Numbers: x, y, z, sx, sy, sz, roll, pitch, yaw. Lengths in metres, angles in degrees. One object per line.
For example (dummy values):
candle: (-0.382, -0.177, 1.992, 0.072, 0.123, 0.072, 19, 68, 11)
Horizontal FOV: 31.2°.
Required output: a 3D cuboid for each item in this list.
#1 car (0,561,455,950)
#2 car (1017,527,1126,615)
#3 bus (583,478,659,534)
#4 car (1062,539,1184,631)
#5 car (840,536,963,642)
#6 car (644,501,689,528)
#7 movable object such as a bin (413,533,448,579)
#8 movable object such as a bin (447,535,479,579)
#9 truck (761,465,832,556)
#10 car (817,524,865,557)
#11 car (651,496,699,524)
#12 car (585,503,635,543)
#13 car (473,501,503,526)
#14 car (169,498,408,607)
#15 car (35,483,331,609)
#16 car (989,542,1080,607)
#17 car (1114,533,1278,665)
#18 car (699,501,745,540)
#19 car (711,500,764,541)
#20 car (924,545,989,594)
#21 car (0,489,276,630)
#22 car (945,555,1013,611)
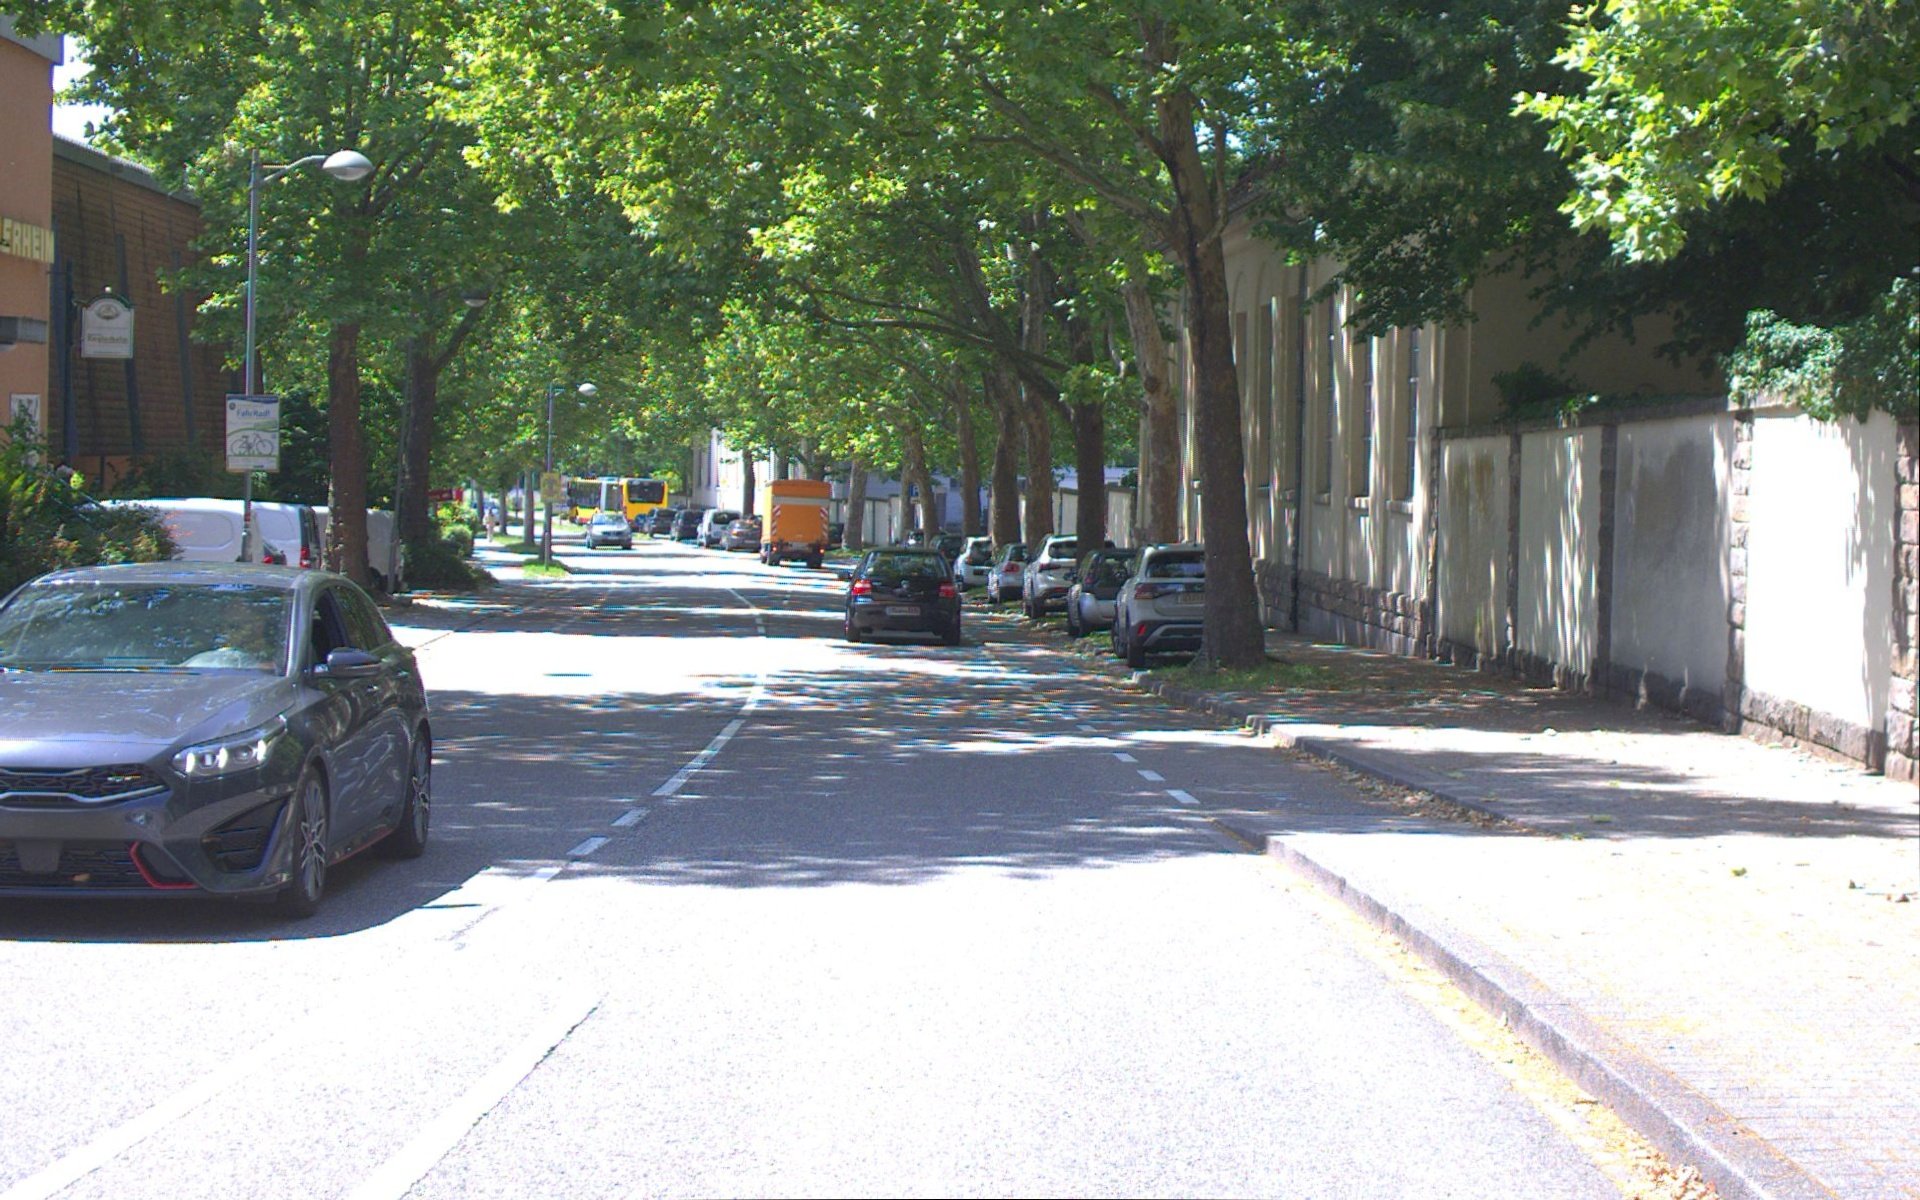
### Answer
car: (-3.442, 0.559, 15.115, 1.769, 1.421, 4.393, 1, 1, 0)
car: (2.177, -0.610, 68.106, 1.807, 1.683, 4.752, 0, 1, -2)
bus: (-19.847, -5.420, 200.540, 2.663, 3.140, 11.201, 1, 1, -15)
car: (2.642, -0.277, 56.560, 1.621, 1.435, 4.433, 0, 1, -2)
car: (-0.925, -0.199, 52.315, 1.711, 1.442, 4.059, 1, 2, -3)
car: (-15.446, -4.483, 180.645, 1.766, 1.369, 3.731, 0, 1, -14)
movable object such as a bin: (-12.686, -1.064, 82.343, 0.734, 1.074, 0.701, 1, 1, -3)
movable object such as a bin: (-11.918, -1.039, 82.426, 0.624, 1.045, 0.620, 1, 1, 2)
truck: (-6.027, -3.248, 126.170, 2.370, 3.123, 5.770, 1, 0, -5)
car: (-5.268, -2.627, 151.384, 1.766, 1.369, 3.731, 2, 1, -7)
car: (-14.218, -4.475, 171.357, 1.766, 1.369, 3.731, 0, 1, -15)
car: (-15.333, -3.361, 150.514, 1.993, 1.660, 4.001, 1, 0, -8)
car: (-28.740, -5.262, 209.166, 1.710, 1.442, 4.059, 0, 1, -9)
car: (-12.504, -0.886, 64.201, 4.127, 1.798, 1.904, 3, 1, -5)
car: (-12.625, -0.883, 56.079, 4.422, 1.798, 1.904, 3, 1, -5)
car: (1.684, -0.609, 78.883, 1.766, 1.428, 3.876, 0, 1, -4)
car: (3.034, -0.059, 45.065, 1.741, 1.552, 4.780, 0, 2, -1)
car: (-11.042, -3.673, 159.308, 1.879, 1.680, 4.001, 1, 0, -7)
car: (-9.857, -3.506, 152.215, 1.879, 1.680, 4.001, 1, 0, -10)
car: (-0.135, -0.945, 106.084, 1.766, 1.461, 3.876, 0, 1, -4)
car: (-11.914, -0.591, 48.982, 3.986, 1.786, 1.869, 3, 1, -5)
car: (0.503, -0.470, 93.387, 1.577, 1.461, 3.876, 0, 1, -4)
